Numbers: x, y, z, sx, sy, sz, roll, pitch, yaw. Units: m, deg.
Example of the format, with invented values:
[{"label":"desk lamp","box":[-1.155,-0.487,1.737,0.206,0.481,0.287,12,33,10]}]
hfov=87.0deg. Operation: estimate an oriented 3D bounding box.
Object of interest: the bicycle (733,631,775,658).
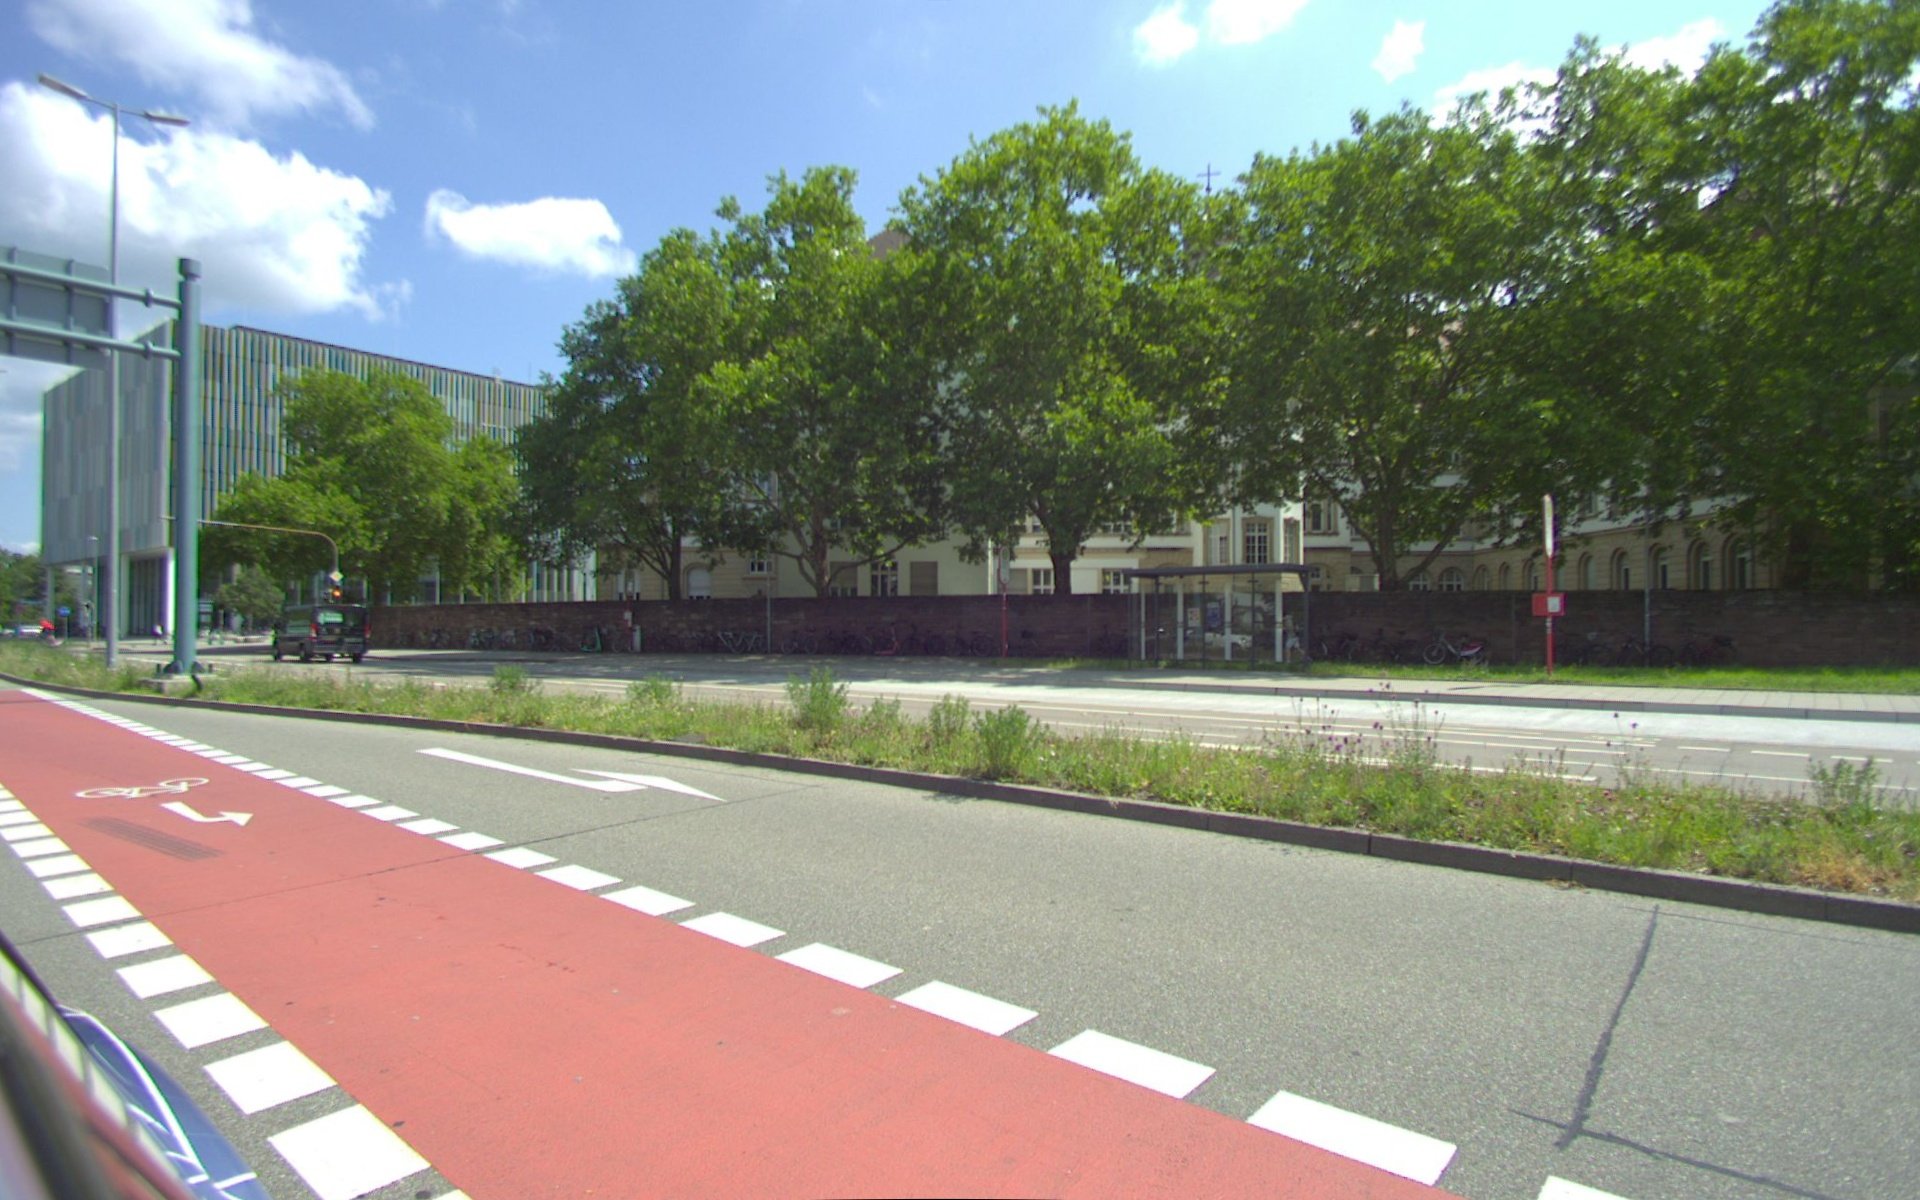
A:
[{"label":"bicycle","box":[-8.146,1.765,39.971,1.752,1.051,0.394,-1,-2,27]}]

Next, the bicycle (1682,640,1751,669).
[{"label":"bicycle","box":[21.615,1.550,28.928,1.529,0.795,0.396,-1,-2,14]}]

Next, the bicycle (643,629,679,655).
[{"label":"bicycle","box":[-12.471,1.750,42.237,1.662,1.051,0.379,-1,-2,28]}]

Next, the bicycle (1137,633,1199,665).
[{"label":"bicycle","box":[6.830,1.599,33.219,1.944,1.051,0.395,-1,-2,22]}]

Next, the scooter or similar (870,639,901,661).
[{"label":"scooter or similar","box":[-2.688,1.806,36.533,1.060,0.800,0.351,-1,-2,16]}]

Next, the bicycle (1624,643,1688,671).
[{"label":"bicycle","box":[20.139,1.645,29.311,1.452,0.795,0.396,-1,-2,14]}]

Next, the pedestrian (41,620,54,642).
[{"label":"pedestrian","box":[-80.375,2.710,89.118,0.806,1.931,0.707,-1,0,35]}]

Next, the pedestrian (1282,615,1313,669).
[{"label":"pedestrian","box":[10.230,1.277,30.704,0.773,1.623,0.720,0,-2,11]}]

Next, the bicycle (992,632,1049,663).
[{"label":"bicycle","box":[2.108,1.636,35.231,1.944,1.051,0.395,-1,-2,22]}]

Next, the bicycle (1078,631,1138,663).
[{"label":"bicycle","box":[4.959,1.575,33.984,1.944,1.051,0.395,-1,-2,22]}]

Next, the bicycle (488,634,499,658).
[{"label":"bicycle","box":[-21.966,2.147,47.664,0.376,1.116,1.675,1,-2,-28]}]

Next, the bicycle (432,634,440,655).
[{"label":"bicycle","box":[-26.093,2.223,50.371,0.324,1.025,1.675,1,-2,-28]}]

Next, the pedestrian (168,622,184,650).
[{"label":"pedestrian","box":[-56.052,2.572,72.350,0.806,1.931,0.707,-1,0,35]}]

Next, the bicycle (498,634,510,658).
[{"label":"bicycle","box":[-21.303,2.140,47.279,0.376,1.116,1.675,1,-2,-28]}]

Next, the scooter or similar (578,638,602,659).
[{"label":"scooter or similar","box":[-15.850,2.078,43.369,1.064,0.850,0.350,-1,-2,28]}]

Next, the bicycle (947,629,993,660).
[{"label":"bicycle","box":[0.351,1.574,35.936,1.628,1.051,0.395,-1,-2,21]}]

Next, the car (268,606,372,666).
[{"label":"car","box":[-24.773,1.402,39.112,4.518,2.188,2.185,-2,-4,41]}]

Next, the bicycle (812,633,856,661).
[{"label":"bicycle","box":[-4.772,1.765,38.250,1.752,1.011,0.394,-1,-2,27]}]

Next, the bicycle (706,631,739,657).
[{"label":"bicycle","box":[-9.554,1.761,40.688,1.409,1.051,0.374,-1,-2,27]}]

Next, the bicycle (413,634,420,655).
[{"label":"bicycle","box":[-27.523,2.236,51.243,0.324,1.025,1.675,1,-2,-28]}]

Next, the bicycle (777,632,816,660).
[{"label":"bicycle","box":[-6.318,1.754,39.026,1.575,1.051,0.394,-1,-2,27]}]

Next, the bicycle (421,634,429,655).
[{"label":"bicycle","box":[-26.883,2.229,50.871,0.324,1.025,1.675,1,-2,-28]}]

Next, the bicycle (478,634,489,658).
[{"label":"bicycle","box":[-22.686,2.158,48.143,0.376,1.116,1.675,1,-2,-28]}]

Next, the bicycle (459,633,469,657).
[{"label":"bicycle","box":[-23.873,2.171,48.675,0.376,1.116,1.675,1,-2,-28]}]

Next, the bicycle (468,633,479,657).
[{"label":"bicycle","box":[-23.375,2.166,48.590,0.376,1.116,1.675,1,-2,-28]}]

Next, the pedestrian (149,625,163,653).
[{"label":"pedestrian","box":[-56.593,2.770,71.250,0.717,1.933,0.624,-1,0,37]}]

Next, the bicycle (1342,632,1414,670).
[{"label":"bicycle","box":[12.917,1.560,31.308,2.021,1.146,0.396,-1,-2,17]}]

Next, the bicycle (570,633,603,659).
[{"label":"bicycle","box":[-16.426,2.010,44.518,1.662,1.116,0.379,-1,-2,28]}]

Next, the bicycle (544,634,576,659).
[{"label":"bicycle","box":[-17.951,2.070,45.384,1.663,1.116,0.379,-1,-2,30]}]

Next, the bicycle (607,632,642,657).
[{"label":"bicycle","box":[-14.306,1.874,43.113,1.662,1.051,0.379,-1,-2,28]}]

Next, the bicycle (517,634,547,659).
[{"label":"bicycle","box":[-19.652,2.134,46.483,1.664,1.116,0.378,-1,-2,32]}]

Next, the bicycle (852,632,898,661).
[{"label":"bicycle","box":[-3.144,1.704,37.451,1.751,1.051,0.394,-1,-2,25]}]

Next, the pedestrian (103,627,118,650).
[{"label":"pedestrian","box":[-73.080,3.344,87.061,0.806,1.931,0.816,-1,0,35]}]

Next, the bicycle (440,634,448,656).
[{"label":"bicycle","box":[-25.482,2.222,49.990,0.324,1.025,1.675,1,-2,-28]}]

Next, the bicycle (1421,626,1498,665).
[{"label":"bicycle","box":[15.125,1.375,30.687,2.021,1.146,0.396,-1,-2,17]}]

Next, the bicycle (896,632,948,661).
[{"label":"bicycle","box":[-1.381,1.669,36.637,1.946,1.051,0.395,-1,-2,24]}]

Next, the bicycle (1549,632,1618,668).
[{"label":"bicycle","box":[18.306,1.467,29.743,1.671,1.038,0.396,-1,-2,14]}]

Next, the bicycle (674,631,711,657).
[{"label":"bicycle","box":[-10.943,1.782,41.429,1.662,1.051,0.379,-1,-2,28]}]
